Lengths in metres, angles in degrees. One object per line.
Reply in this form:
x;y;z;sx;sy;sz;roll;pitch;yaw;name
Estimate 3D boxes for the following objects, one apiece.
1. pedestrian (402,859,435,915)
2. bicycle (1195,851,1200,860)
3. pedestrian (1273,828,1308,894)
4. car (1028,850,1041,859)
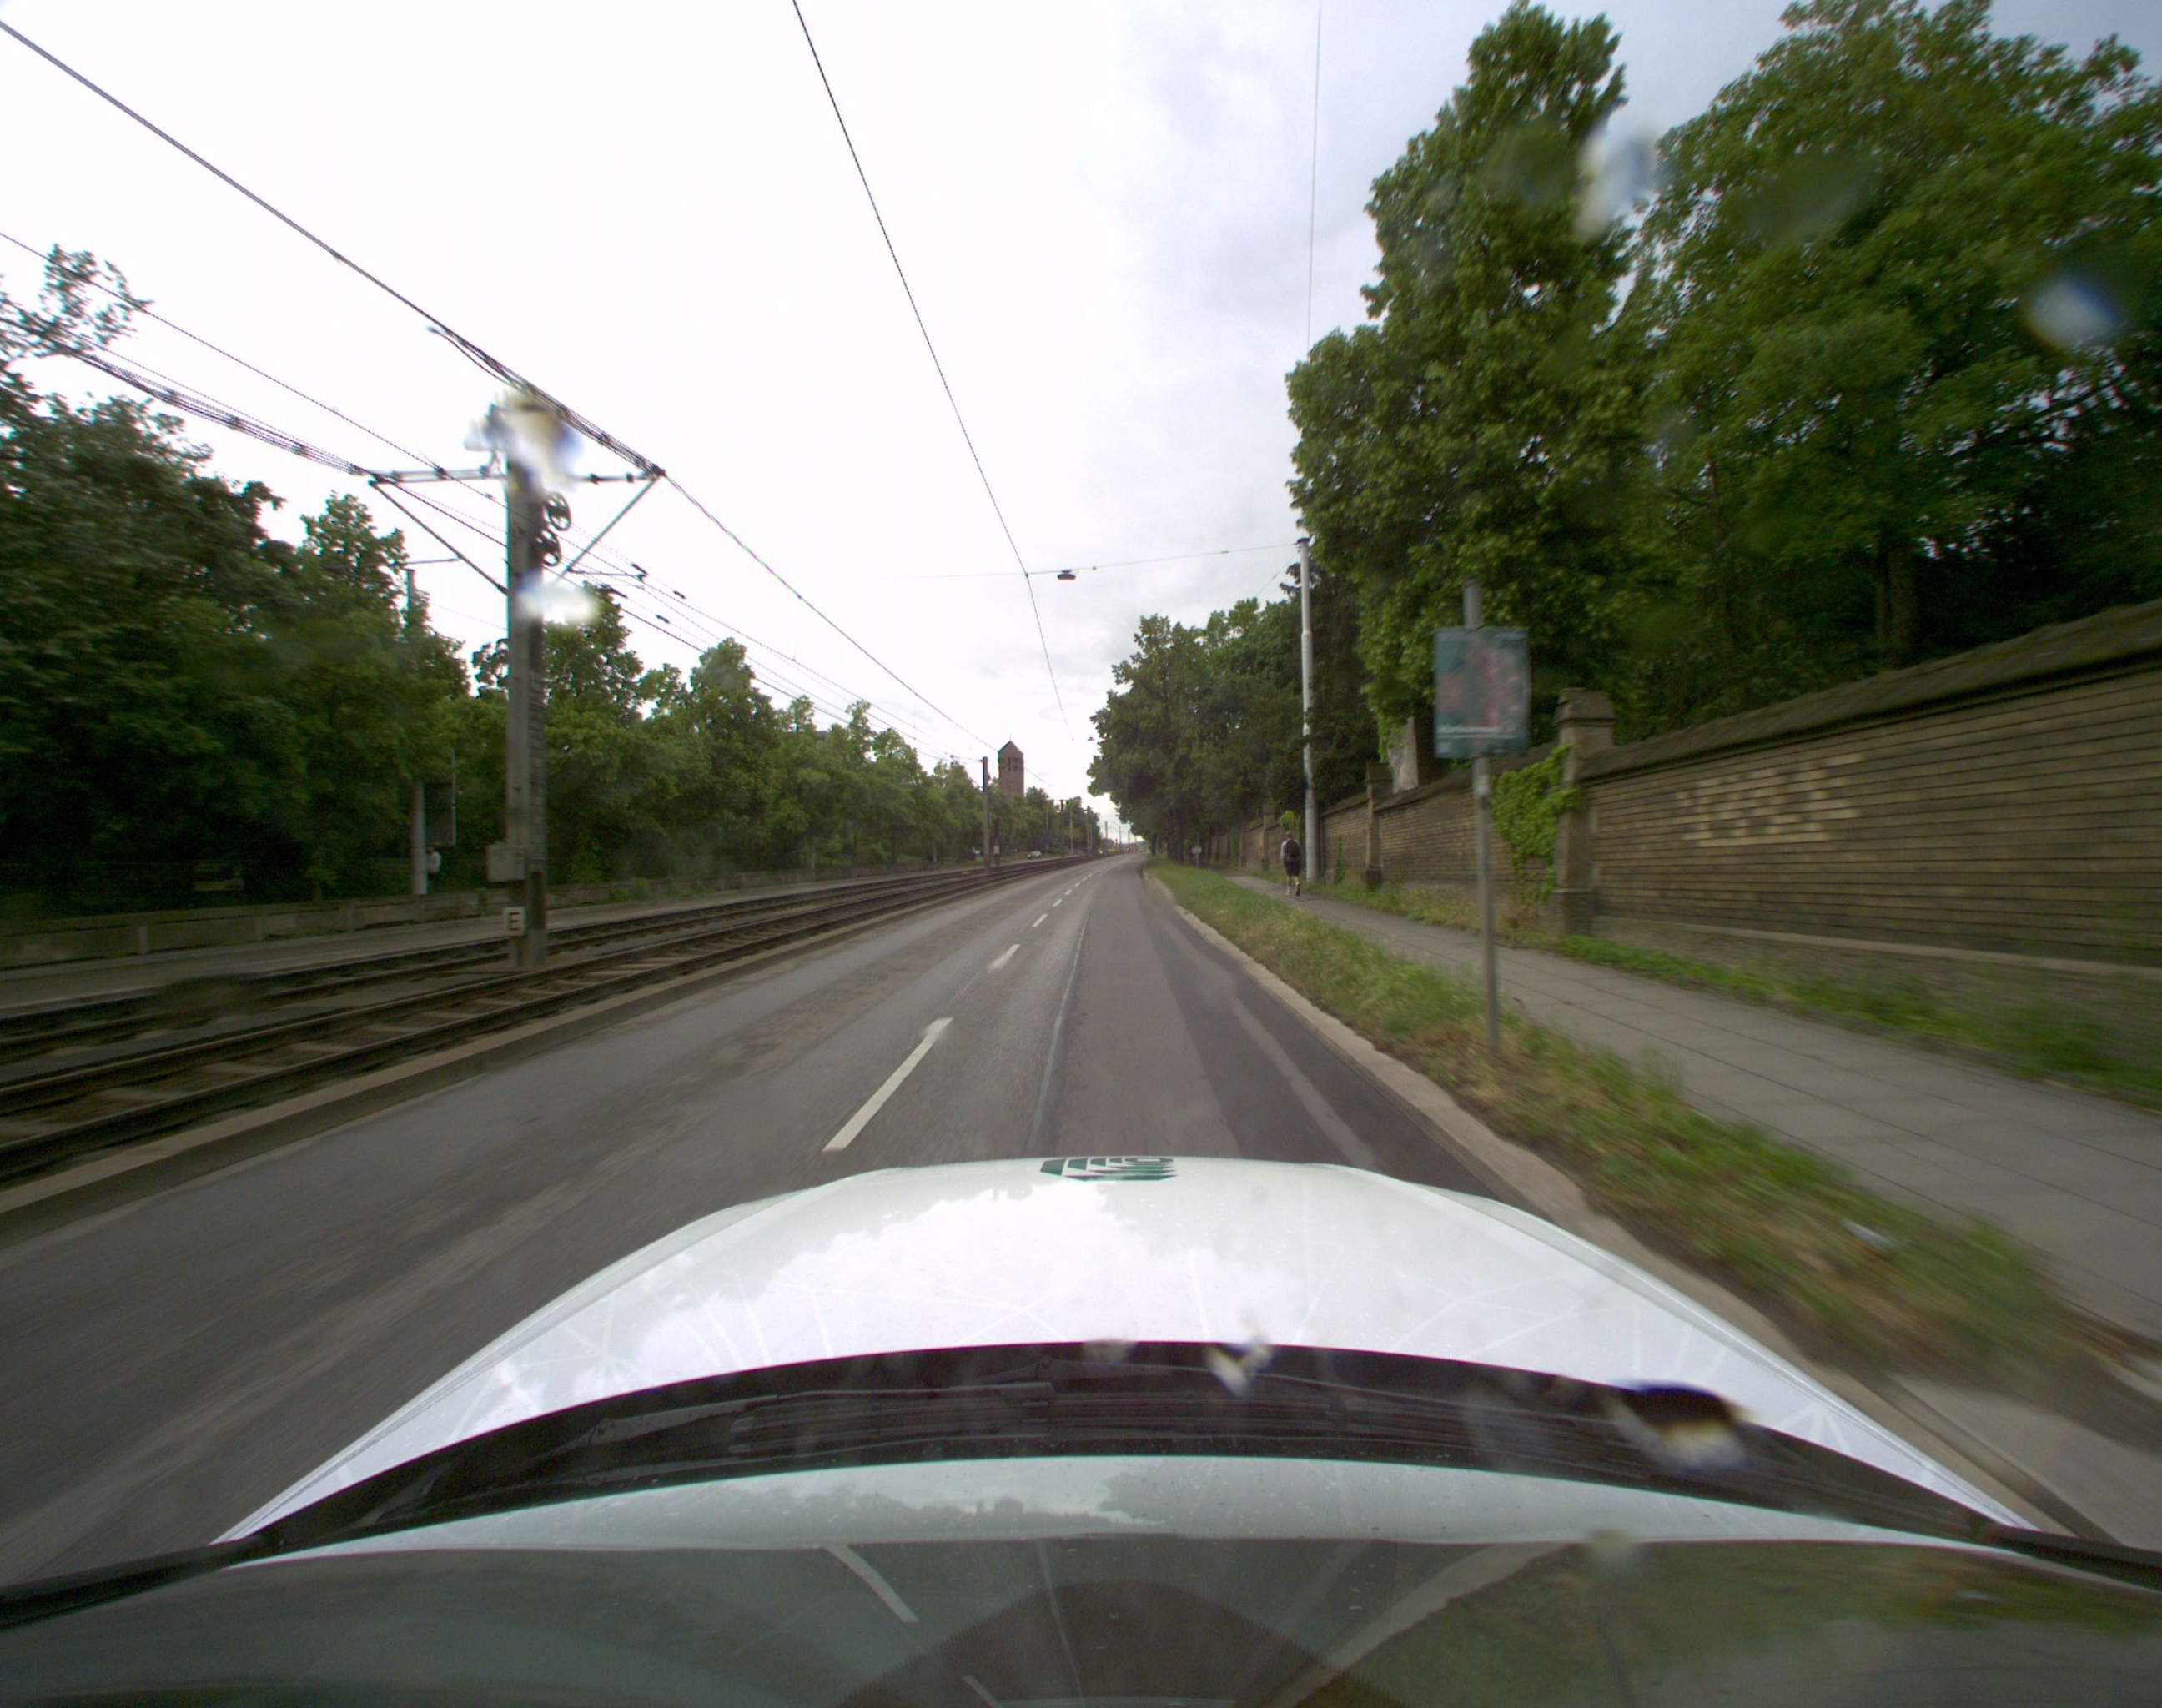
-22.883;1.146;28.144;0.593;1.902;0.654;0;0;1;pedestrian
12.402;0.122;86.772;0.539;0.948;2.555;-2;0;8;bicycle
5.772;0.192;22.484;0.705;1.779;0.901;-1;0;2;pedestrian
-8.514;0.081;150.784;1.787;1.530;4.627;-2;0;4;car
